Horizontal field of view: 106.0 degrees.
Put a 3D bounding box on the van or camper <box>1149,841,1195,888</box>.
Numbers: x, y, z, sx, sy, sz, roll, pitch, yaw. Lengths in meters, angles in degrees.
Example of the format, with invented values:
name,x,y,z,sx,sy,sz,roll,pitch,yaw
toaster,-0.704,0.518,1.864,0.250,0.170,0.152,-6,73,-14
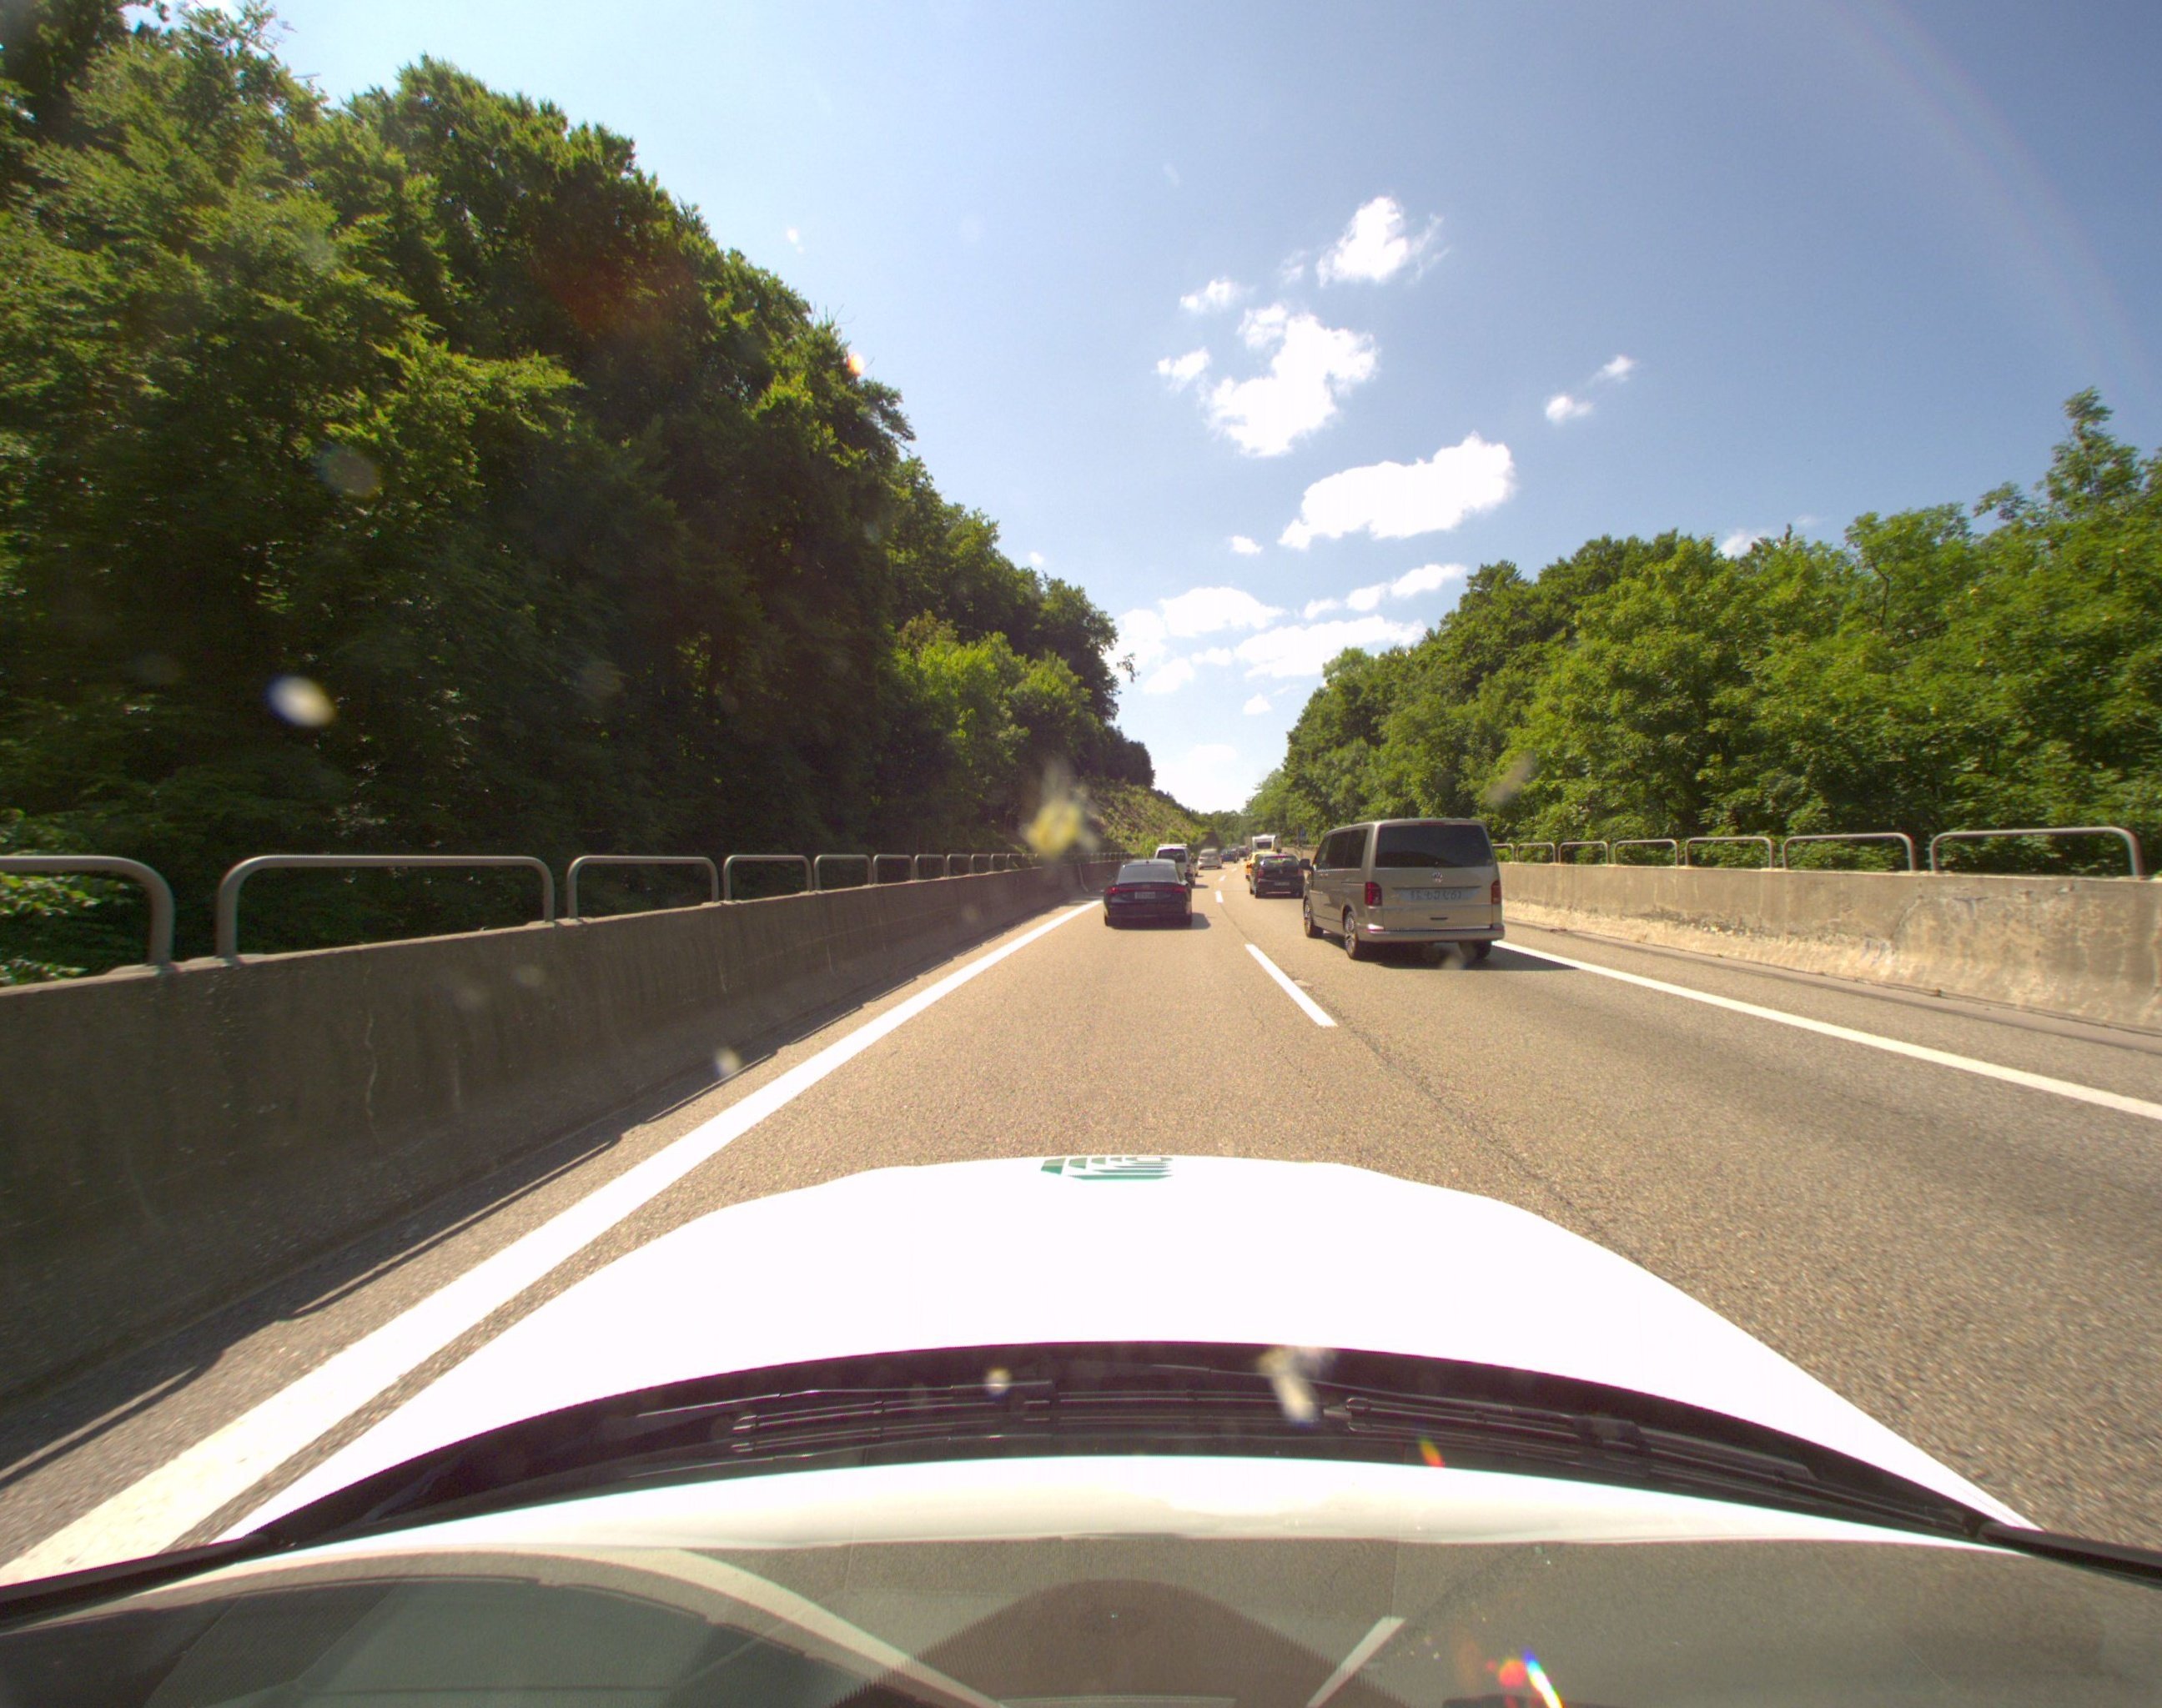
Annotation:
name,x,y,z,sx,sy,sz,roll,pitch,yaw
van or camper,4.085,0.452,36.438,1.844,1.942,4.173,-2,0,6

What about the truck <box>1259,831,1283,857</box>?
name,x,y,z,sx,sy,sz,roll,pitch,yaw
truck,27.952,-1.398,119.931,2.907,3.687,7.745,-1,0,10

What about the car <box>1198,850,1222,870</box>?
name,x,y,z,sx,sy,sz,roll,pitch,yaw
car,10.656,0.493,67.199,1.884,1.584,3.780,-2,0,9

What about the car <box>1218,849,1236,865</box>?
name,x,y,z,sx,sy,sz,roll,pitch,yaw
car,15.907,0.306,88.543,1.739,1.571,3.784,-2,0,12

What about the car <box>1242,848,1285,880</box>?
name,x,y,z,sx,sy,sz,roll,pitch,yaw
car,9.164,0.485,41.232,1.798,1.478,4.091,-2,0,8

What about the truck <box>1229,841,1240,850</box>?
name,x,y,z,sx,sy,sz,roll,pitch,yaw
truck,33.609,-1.864,178.477,1.983,2.013,4.007,-1,0,6

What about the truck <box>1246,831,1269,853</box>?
name,x,y,z,sx,sy,sz,roll,pitch,yaw
truck,38.933,-2.592,180.307,3.695,4.504,7.730,-1,0,3

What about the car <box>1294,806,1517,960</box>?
name,x,y,z,sx,sy,sz,roll,pitch,yaw
car,4.774,0.380,12.804,1.931,1.931,4.700,-2,0,5

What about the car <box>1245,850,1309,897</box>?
name,x,y,z,sx,sy,sz,roll,pitch,yaw
car,6.601,0.619,27.748,1.676,1.458,4.009,-2,0,8

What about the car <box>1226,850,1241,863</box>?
name,x,y,z,sx,sy,sz,roll,pitch,yaw
car,19.339,0.281,103.195,1.739,1.571,3.784,-2,0,12

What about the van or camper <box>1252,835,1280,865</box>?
name,x,y,z,sx,sy,sz,roll,pitch,yaw
van or camper,18.891,-0.393,82.879,2.585,2.855,6.359,-2,0,14

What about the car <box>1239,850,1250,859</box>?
name,x,y,z,sx,sy,sz,roll,pitch,yaw
car,29.952,0.004,148.860,1.741,1.571,3.780,-2,0,8

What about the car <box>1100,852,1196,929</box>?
name,x,y,z,sx,sy,sz,roll,pitch,yaw
car,1.533,0.743,18.640,1.896,1.489,4.385,-2,0,5

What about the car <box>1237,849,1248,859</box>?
name,x,y,z,sx,sy,sz,roll,pitch,yaw
car,26.649,-0.081,134.133,1.739,1.571,3.784,-2,0,12
